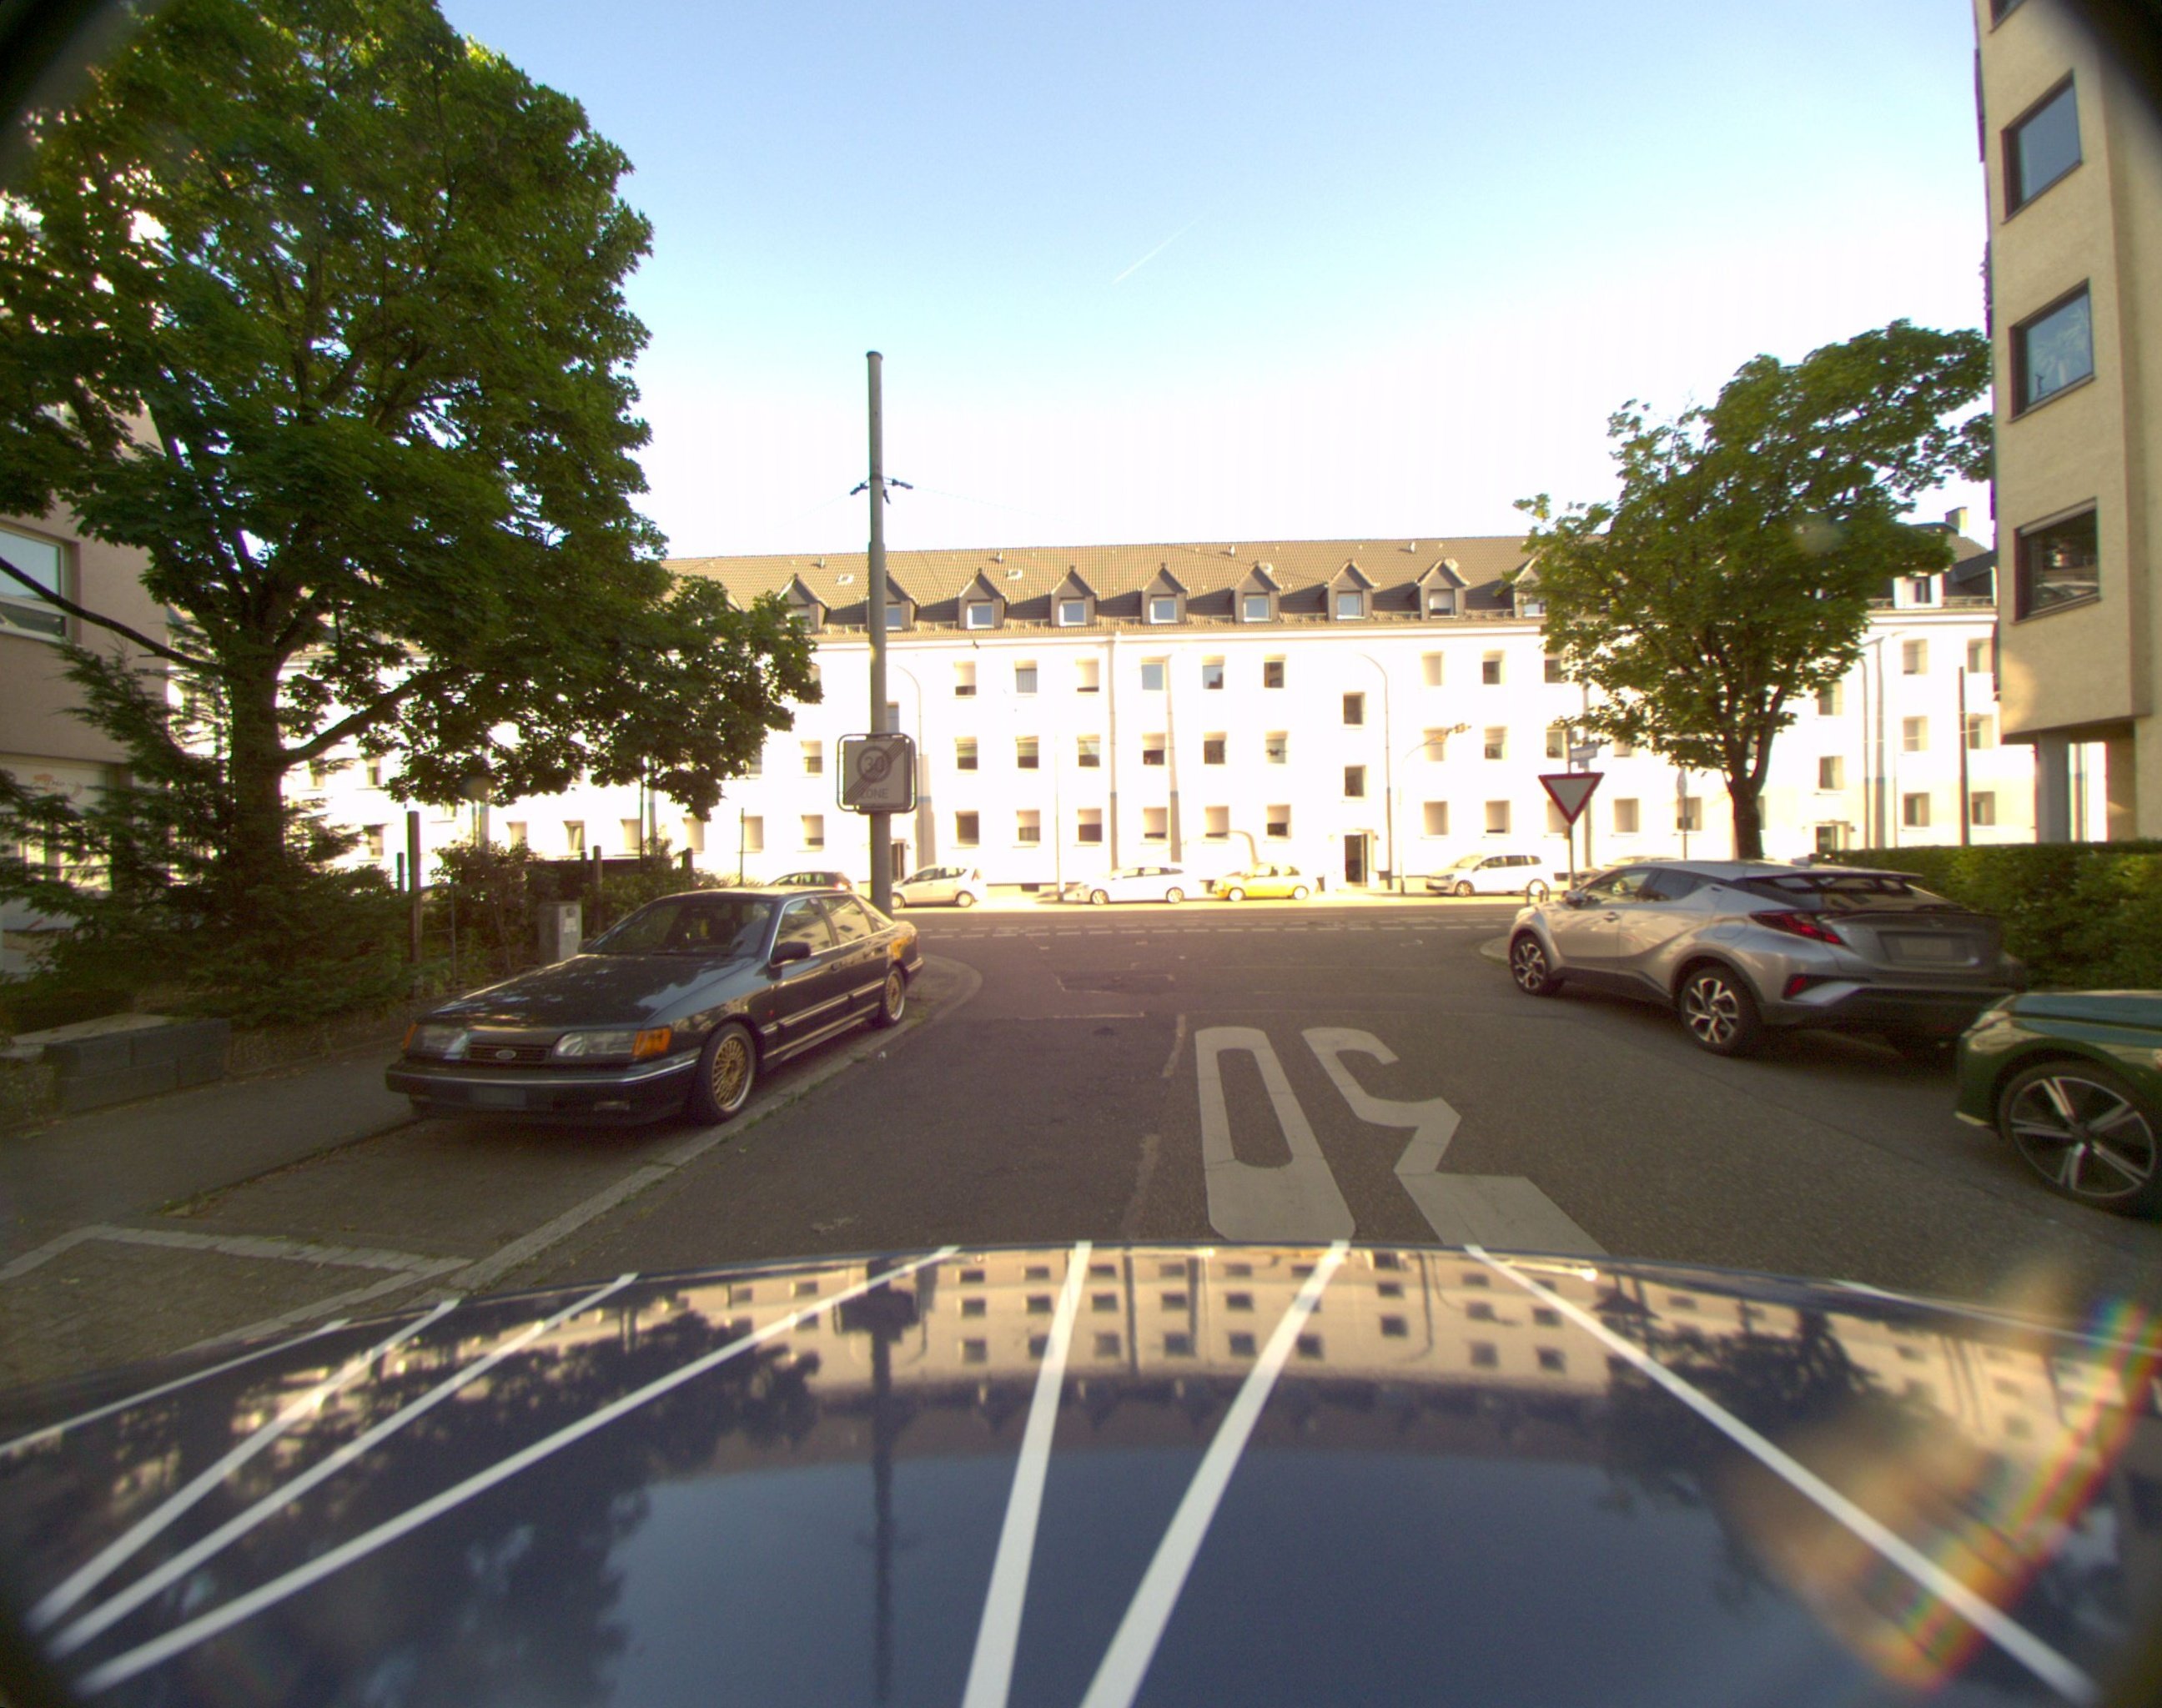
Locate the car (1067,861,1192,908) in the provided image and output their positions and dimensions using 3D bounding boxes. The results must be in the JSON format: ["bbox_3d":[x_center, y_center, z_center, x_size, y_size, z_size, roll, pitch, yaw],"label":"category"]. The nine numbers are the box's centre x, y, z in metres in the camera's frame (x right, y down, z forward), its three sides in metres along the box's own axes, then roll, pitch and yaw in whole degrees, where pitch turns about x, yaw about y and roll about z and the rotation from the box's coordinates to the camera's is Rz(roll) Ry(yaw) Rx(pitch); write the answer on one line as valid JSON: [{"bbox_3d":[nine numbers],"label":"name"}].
[{"bbox_3d":[1.777,1.127,28.408,4.506,1.562,1.685,-1,2,1],"label":"car"}]

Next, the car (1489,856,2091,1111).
[{"bbox_3d":[5.793,0.870,7.076,1.908,1.650,4.000,1,0,2],"label":"car"}]

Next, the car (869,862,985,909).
[{"bbox_3d":[-5.733,1.166,28.589,3.900,1.562,1.759,-1,3,2],"label":"car"}]

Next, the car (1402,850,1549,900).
[{"bbox_3d":[14.765,0.770,28.600,4.623,1.657,1.759,-1,3,-2],"label":"car"}]

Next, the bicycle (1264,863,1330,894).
[{"bbox_3d":[8.702,0.969,30.732,2.325,1.190,1.099,-1,0,0],"label":"bicycle"}]

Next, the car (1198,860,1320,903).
[{"bbox_3d":[6.624,1.010,28.470,4.198,1.422,1.518,-2,1,0],"label":"car"}]

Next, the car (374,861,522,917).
[{"bbox_3d":[-24.265,1.313,29.233,4.150,1.960,1.792,-1,2,2],"label":"car"}]

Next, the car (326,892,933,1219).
[{"bbox_3d":[-2.793,1.123,6.149,1.711,1.380,4.572,0,0,8],"label":"car"}]

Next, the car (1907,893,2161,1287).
[{"bbox_3d":[4.989,0.968,1.849,1.756,1.488,4.137,1,0,7],"label":"car"}]
